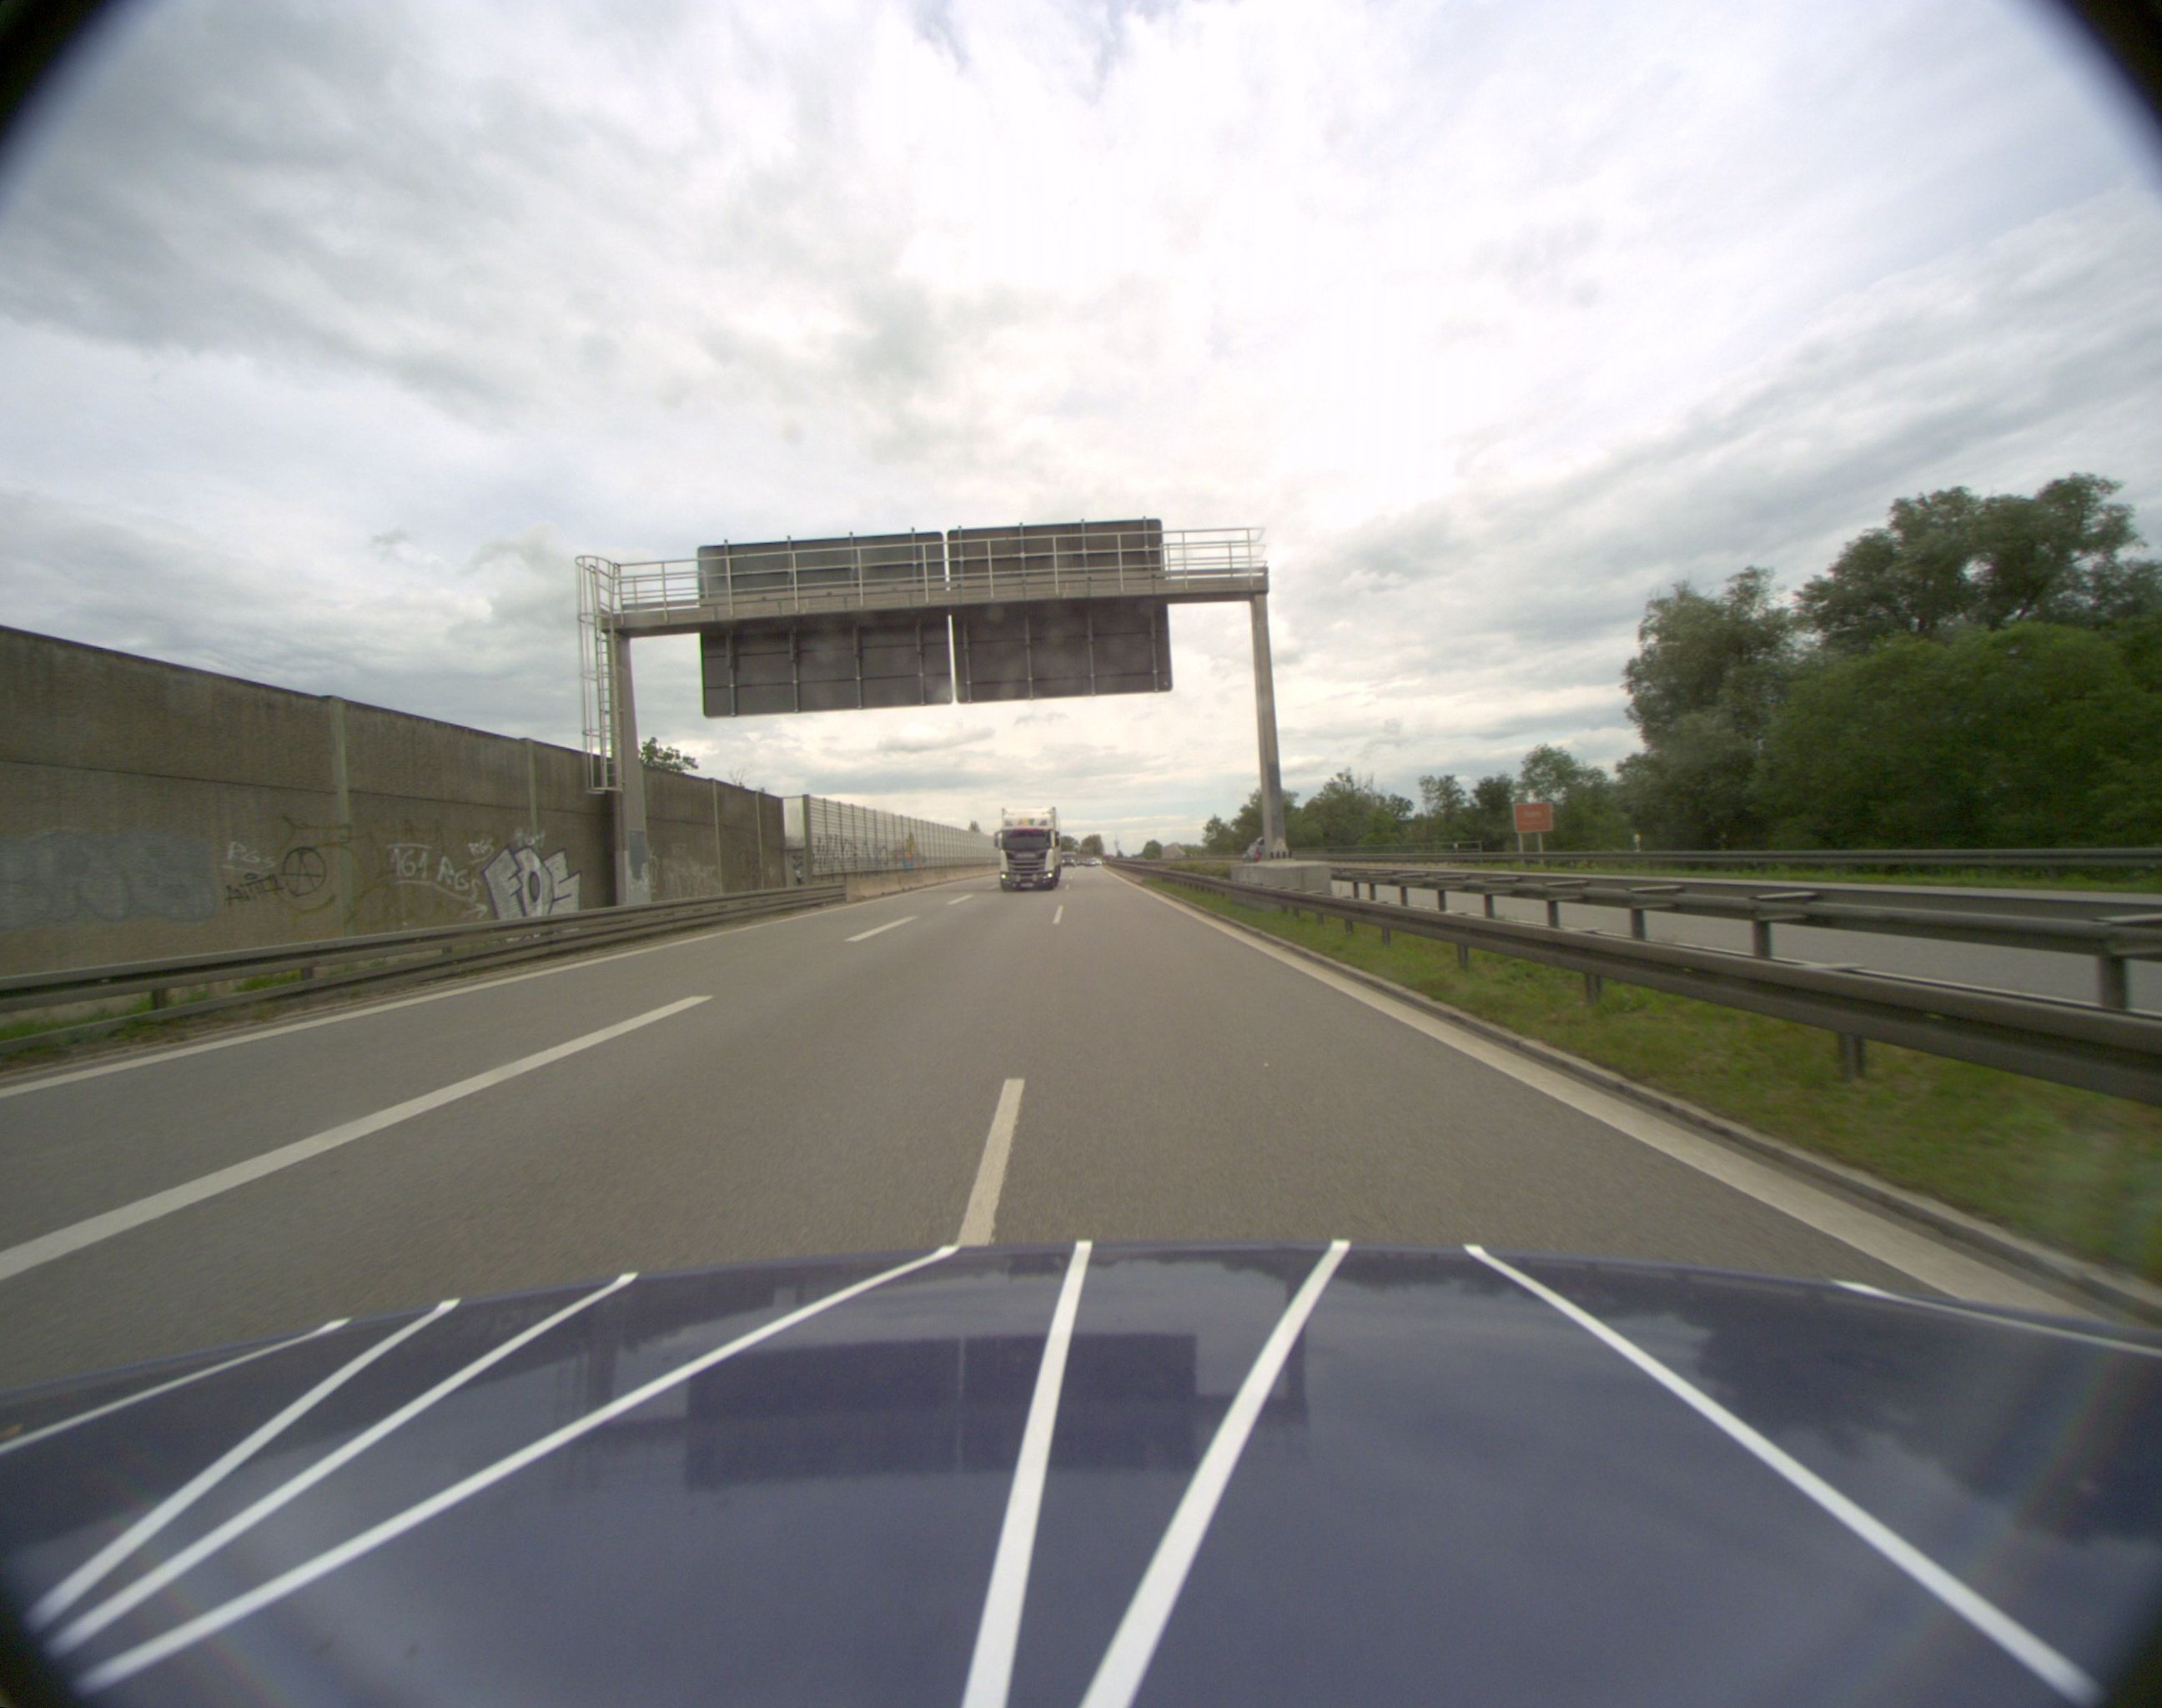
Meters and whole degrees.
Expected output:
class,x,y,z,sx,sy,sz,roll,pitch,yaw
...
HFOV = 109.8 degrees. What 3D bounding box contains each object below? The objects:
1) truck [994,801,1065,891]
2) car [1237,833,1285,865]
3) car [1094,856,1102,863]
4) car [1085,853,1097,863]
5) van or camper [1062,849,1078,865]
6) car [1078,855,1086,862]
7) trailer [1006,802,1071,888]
class,x,y,z,sx,sy,sz,roll,pitch,yaw
truck,-2.369,-0.338,37.070,2.762,3.936,5.678,-2,0,2
car,12.384,-0.338,52.547,1.999,1.991,4.743,-3,1,-1
car,4.293,1.437,194.898,1.889,1.608,4.000,-3,0,2
car,1.700,0.728,127.911,1.889,1.608,4.001,-1,-1,2
van or camper,-1.888,0.530,133.068,2.435,2.680,7.227,-2,-1,1
car,0.276,0.994,178.051,1.889,1.608,3.999,-3,0,0
trailer,-2.216,-0.498,44.554,2.800,4.150,14.102,-2,0,0
